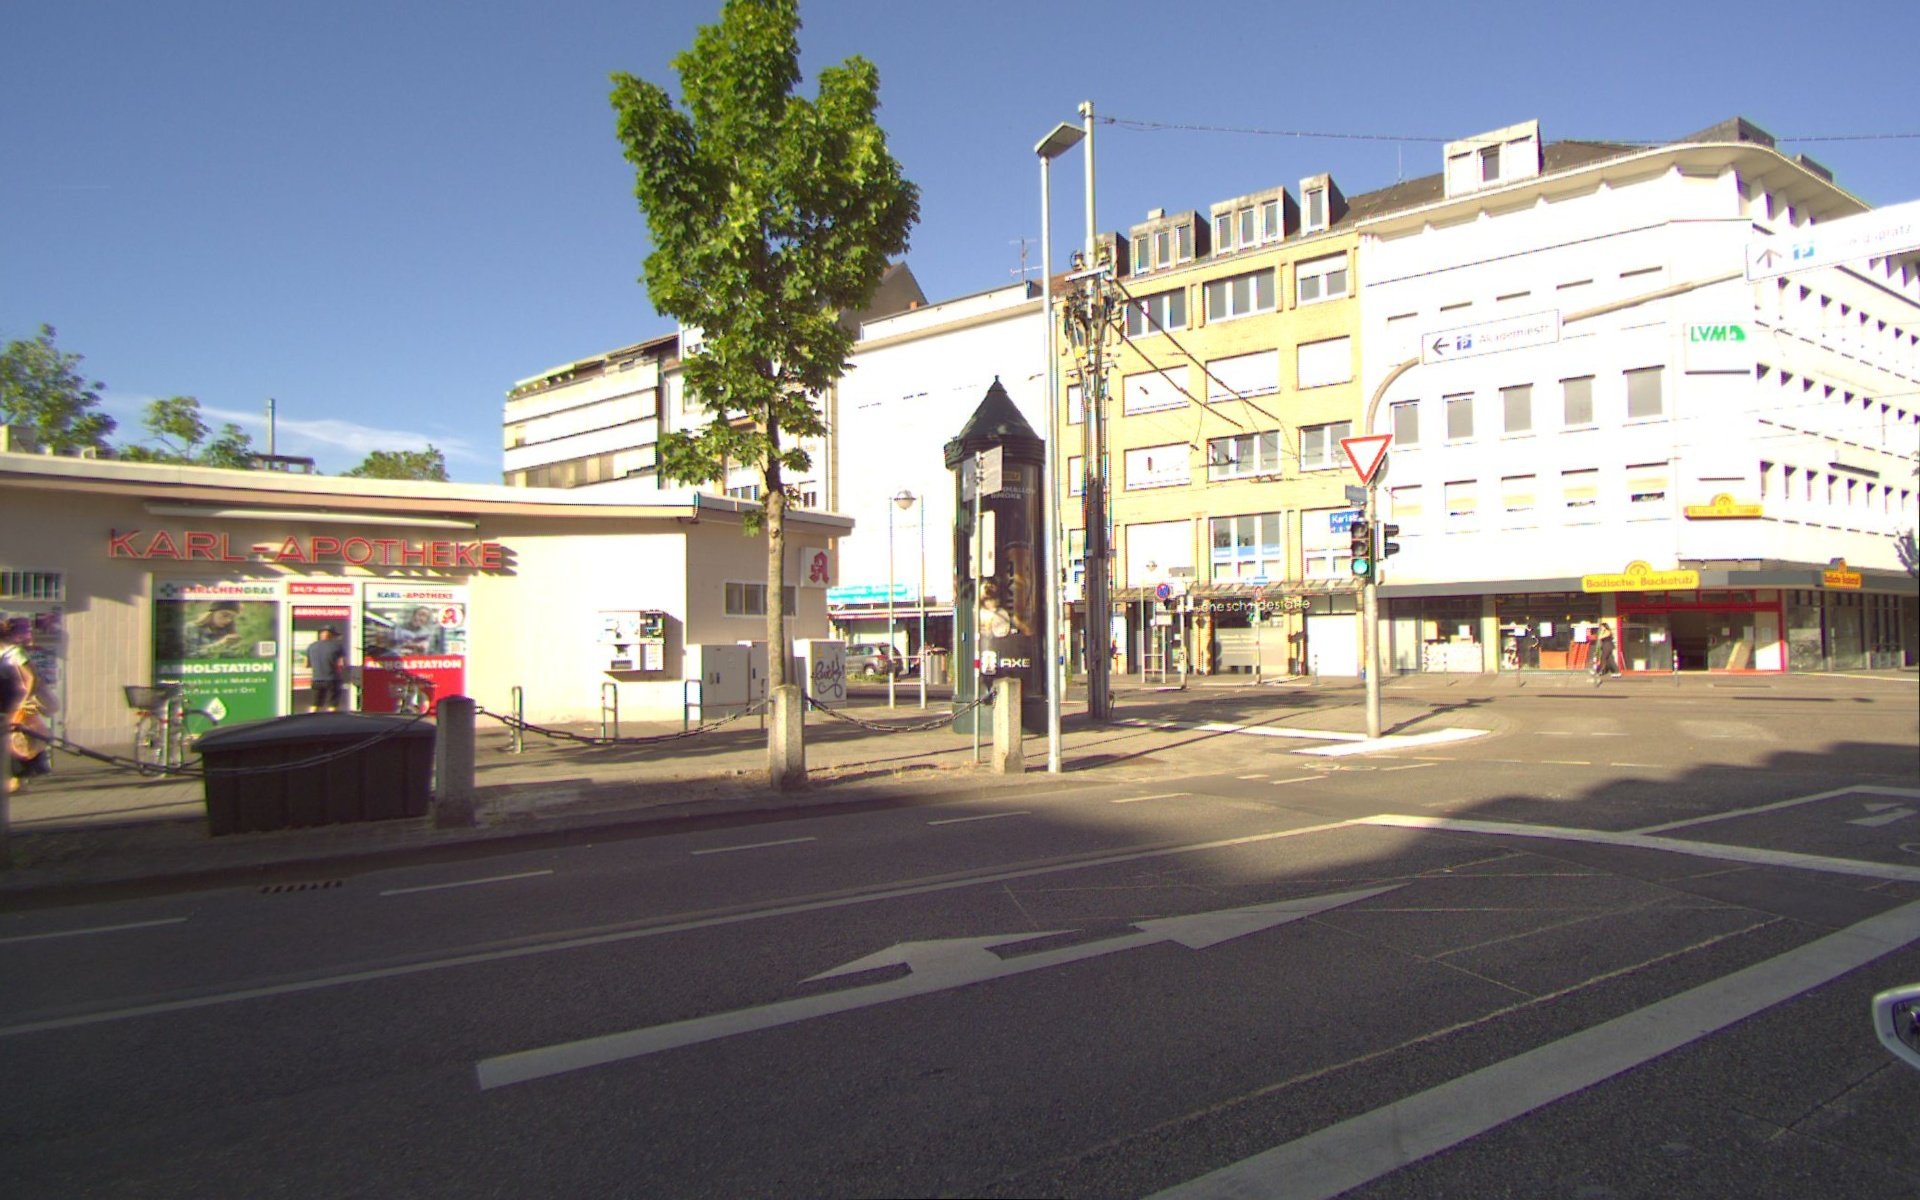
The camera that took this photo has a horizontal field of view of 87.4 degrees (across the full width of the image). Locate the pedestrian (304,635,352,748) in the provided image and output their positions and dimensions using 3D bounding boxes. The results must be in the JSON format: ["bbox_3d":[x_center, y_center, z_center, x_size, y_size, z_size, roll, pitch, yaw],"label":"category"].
[{"bbox_3d":[-9.914,1.422,15.771,0.604,1.731,0.516,1,-3,-31],"label":"pedestrian"}]

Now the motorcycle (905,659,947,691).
[{"bbox_3d":[-1.643,3.643,48.996,0.983,1.525,2.250,-3,-3,32],"label":"motorcycle"}]

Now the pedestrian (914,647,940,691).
[{"bbox_3d":[-1.303,2.690,39.468,0.899,1.685,0.946,-1,-3,3],"label":"pedestrian"}]

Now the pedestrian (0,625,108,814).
[{"bbox_3d":[-9.105,1.109,9.658,0.885,1.720,1.086,-1,-2,-3],"label":"pedestrian"}]

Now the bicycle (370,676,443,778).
[{"bbox_3d":[-7.003,1.558,12.732,0.744,1.102,1.980,0,-2,-29],"label":"bicycle"}]

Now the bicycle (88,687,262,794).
[{"bbox_3d":[-8.959,1.563,11.584,0.874,1.015,2.013,0,-3,-16],"label":"bicycle"}]

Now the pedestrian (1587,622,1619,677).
[{"bbox_3d":[20.463,1.583,31.974,0.705,1.731,0.555,1,-3,-34],"label":"pedestrian"}]

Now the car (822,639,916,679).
[{"bbox_3d":[-4.191,2.706,46.019,3.935,1.728,1.994,-3,-3,35],"label":"car"}]
